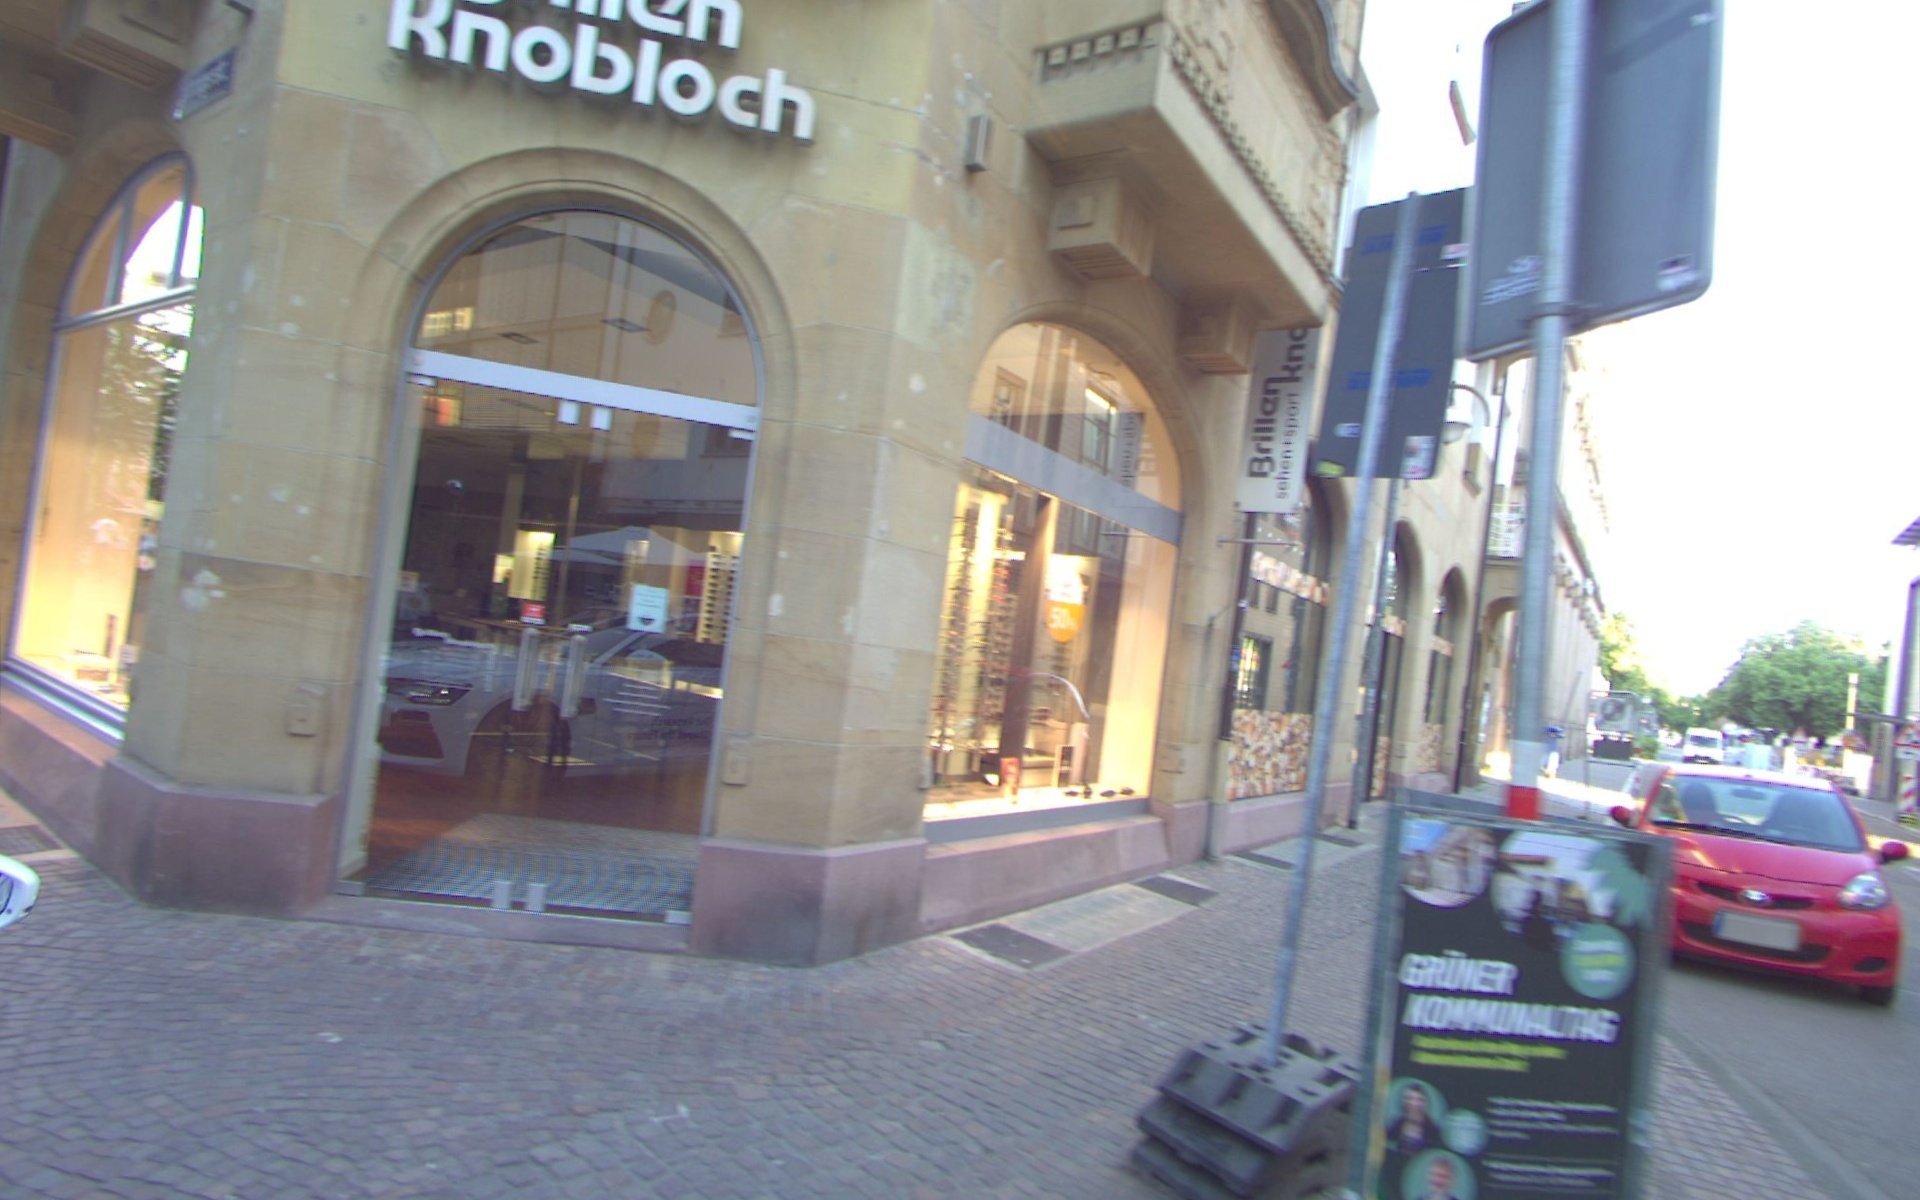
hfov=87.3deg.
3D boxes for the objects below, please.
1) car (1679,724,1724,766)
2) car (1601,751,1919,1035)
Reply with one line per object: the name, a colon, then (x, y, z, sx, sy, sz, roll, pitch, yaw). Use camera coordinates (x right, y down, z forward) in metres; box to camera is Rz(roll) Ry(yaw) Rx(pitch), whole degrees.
car: (47.472, 9.261, 64.354, 1.912, 2.331, 3.986, 7, -2, 39)
car: (6.353, 2.070, 8.129, 1.626, 1.458, 3.990, 3, -4, 37)
